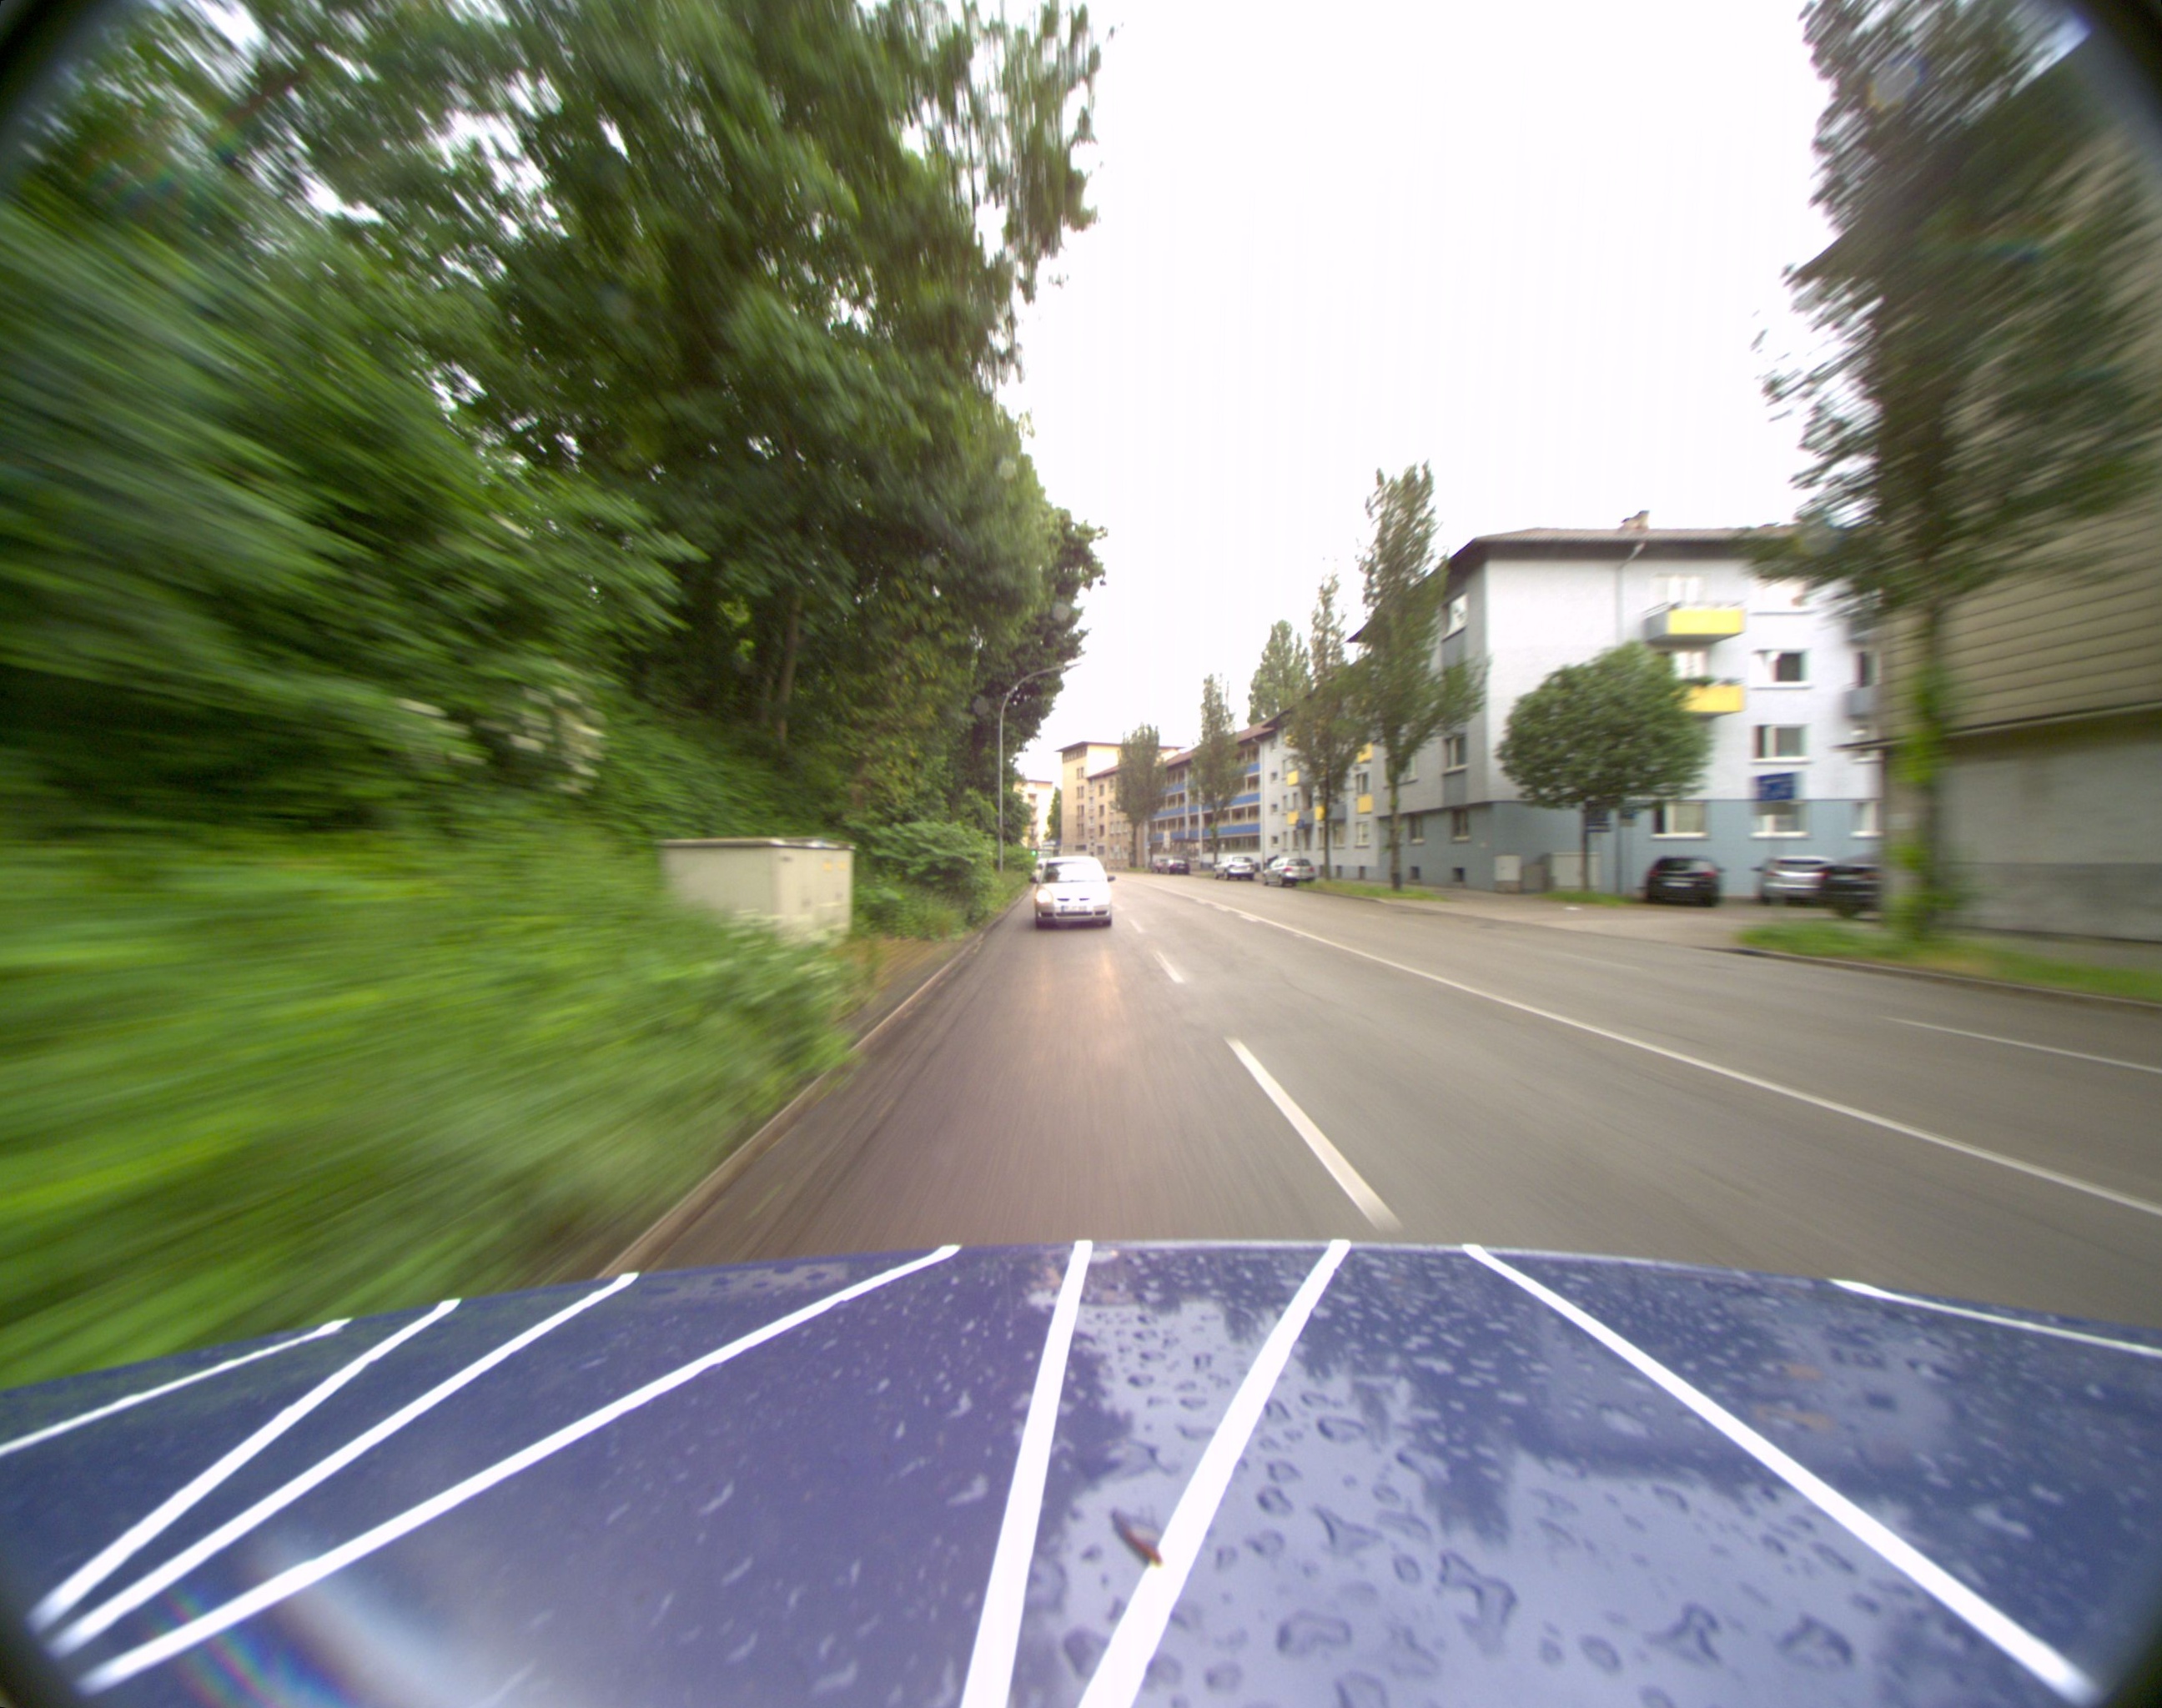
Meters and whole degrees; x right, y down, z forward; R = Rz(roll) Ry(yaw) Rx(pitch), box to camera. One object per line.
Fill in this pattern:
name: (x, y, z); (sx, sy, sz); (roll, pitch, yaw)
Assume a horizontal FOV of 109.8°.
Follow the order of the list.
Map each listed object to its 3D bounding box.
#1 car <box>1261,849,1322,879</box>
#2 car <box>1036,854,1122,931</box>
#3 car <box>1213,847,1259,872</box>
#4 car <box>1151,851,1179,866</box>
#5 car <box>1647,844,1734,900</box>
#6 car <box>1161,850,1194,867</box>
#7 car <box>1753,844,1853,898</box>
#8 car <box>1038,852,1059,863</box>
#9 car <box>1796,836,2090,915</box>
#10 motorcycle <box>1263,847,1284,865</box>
car: (10.736, 0.490, 39.099); (1.729, 1.444, 4.203); (0, 1, -4)
car: (-0.128, 0.812, 17.873); (1.753, 1.510, 3.999); (-2, 1, -3)
car: (10.156, 0.357, 50.187); (1.769, 1.594, 4.531); (0, 0, -5)
car: (8.125, 0.391, 73.992); (1.785, 1.395, 4.086); (1, 0, -7)
car: (18.499, 0.472, 23.009); (1.708, 1.486, 4.008); (2, 2, 43)
car: (8.617, 0.384, 68.424); (1.826, 1.431, 4.889); (1, 1, -6)
car: (22.034, 0.454, 23.343); (1.789, 1.485, 4.008); (1, 1, 37)
car: (-4.433, 0.431, 103.839); (1.759, 1.417, 4.530); (-1, 0, -16)
car: (18.313, 0.438, 16.305); (4.160, 1.570, 1.926); (0, 0, 0)
motorcycle: (15.693, 0.138, 61.934); (0.677, 1.406, 2.233); (-3, 1, -13)
